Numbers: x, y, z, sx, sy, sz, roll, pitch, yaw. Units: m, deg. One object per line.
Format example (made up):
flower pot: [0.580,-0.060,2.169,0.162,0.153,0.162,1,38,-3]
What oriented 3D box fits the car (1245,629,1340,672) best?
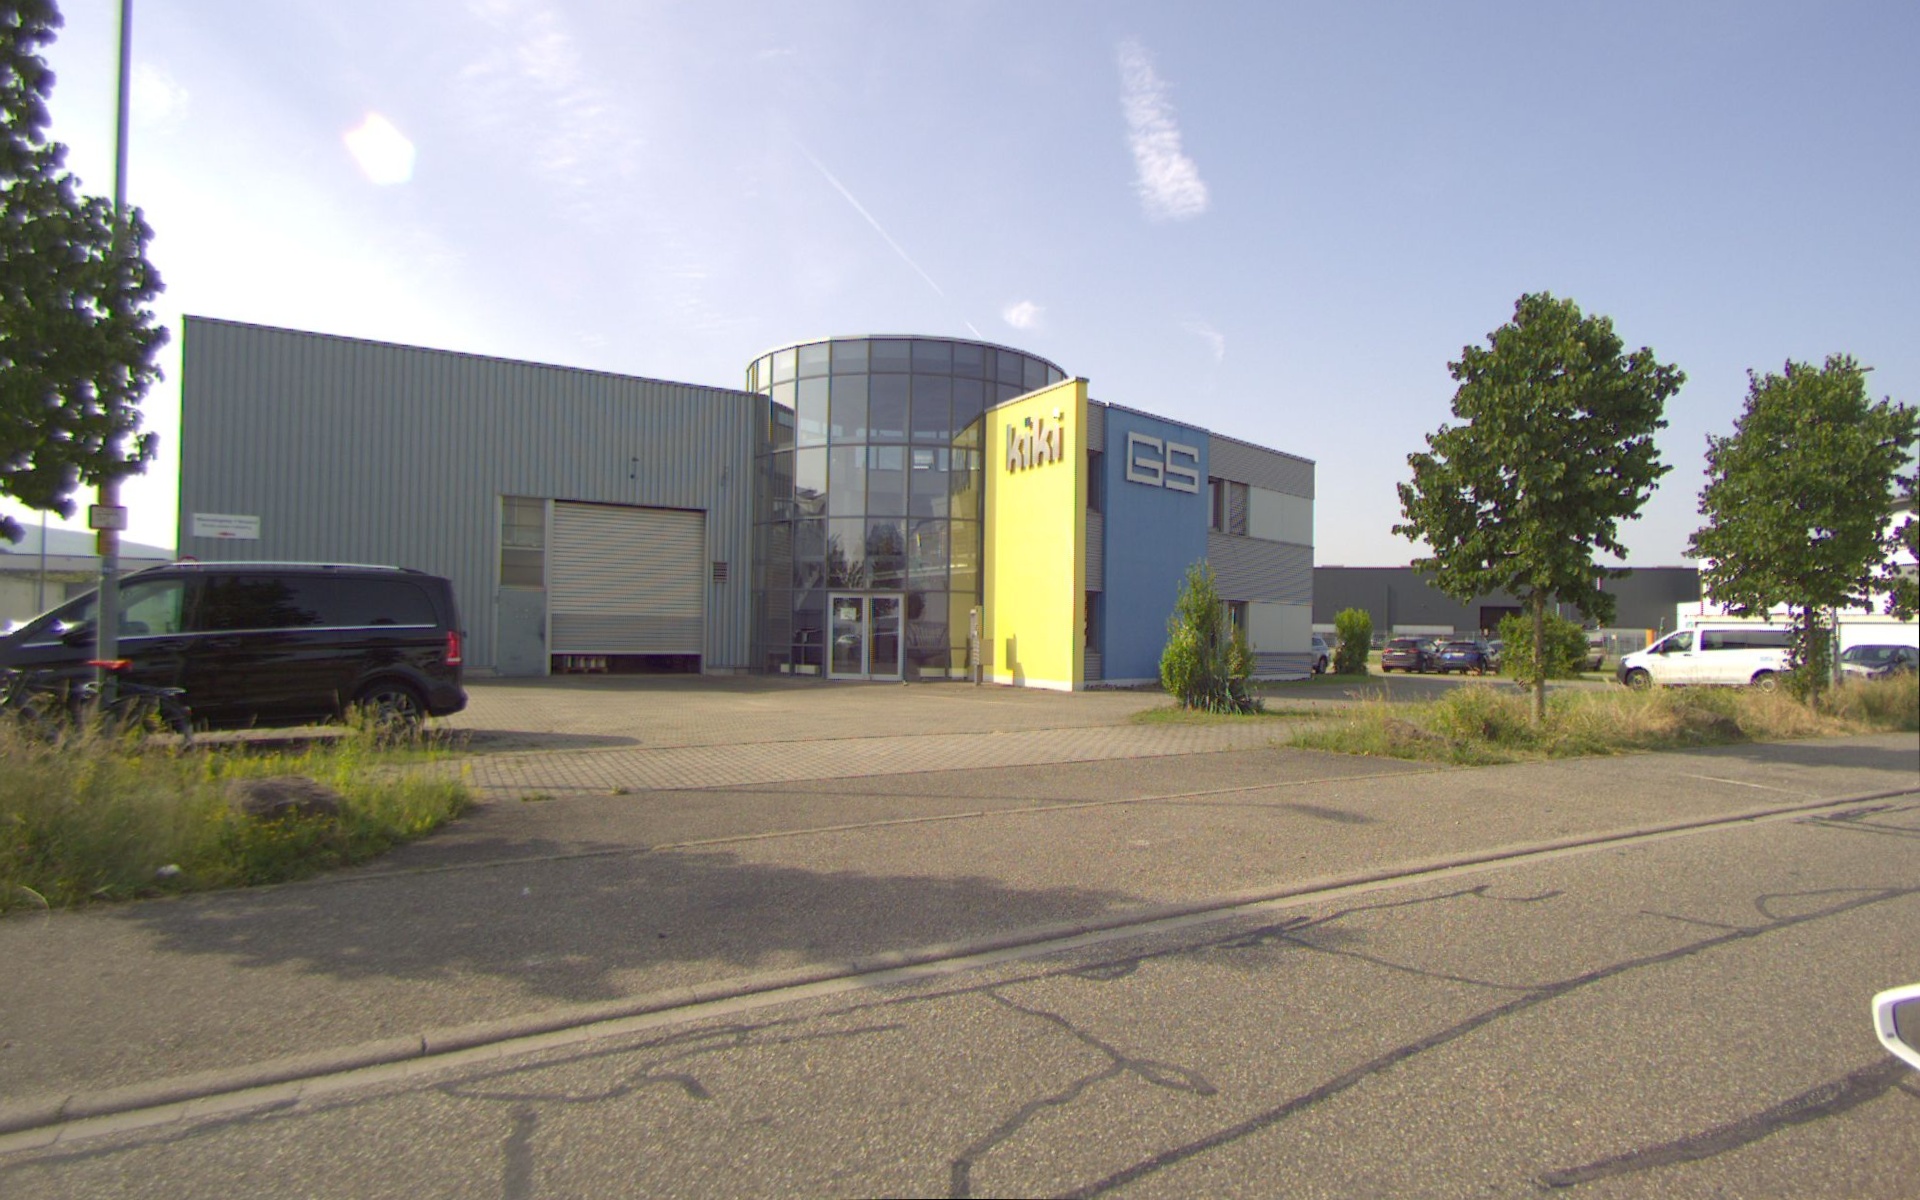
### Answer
car: [12.507,1.914,37.620,1.558,1.500,4.497,0,-3,45]

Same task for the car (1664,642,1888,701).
car: [23.588,2.019,29.264,1.974,1.450,4.711,2,-2,-26]

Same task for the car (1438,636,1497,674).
car: [22.333,2.401,44.136,1.819,1.505,3.989,0,-2,34]

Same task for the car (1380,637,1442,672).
car: [20.600,2.471,45.803,1.938,1.505,3.989,0,-2,34]

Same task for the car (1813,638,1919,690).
car: [32.683,2.257,35.925,4.646,1.709,1.984,2,-2,-31]

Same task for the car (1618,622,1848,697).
car: [21.442,1.588,28.080,2.077,1.860,4.685,2,-1,-28]

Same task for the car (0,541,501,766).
car: [-7.723,0.542,10.777,4.932,2.040,1.873,1,-2,-30]

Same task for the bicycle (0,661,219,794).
bicycle: [-7.143,0.995,8.050,1.845,0.991,0.538,2,-1,-26]
